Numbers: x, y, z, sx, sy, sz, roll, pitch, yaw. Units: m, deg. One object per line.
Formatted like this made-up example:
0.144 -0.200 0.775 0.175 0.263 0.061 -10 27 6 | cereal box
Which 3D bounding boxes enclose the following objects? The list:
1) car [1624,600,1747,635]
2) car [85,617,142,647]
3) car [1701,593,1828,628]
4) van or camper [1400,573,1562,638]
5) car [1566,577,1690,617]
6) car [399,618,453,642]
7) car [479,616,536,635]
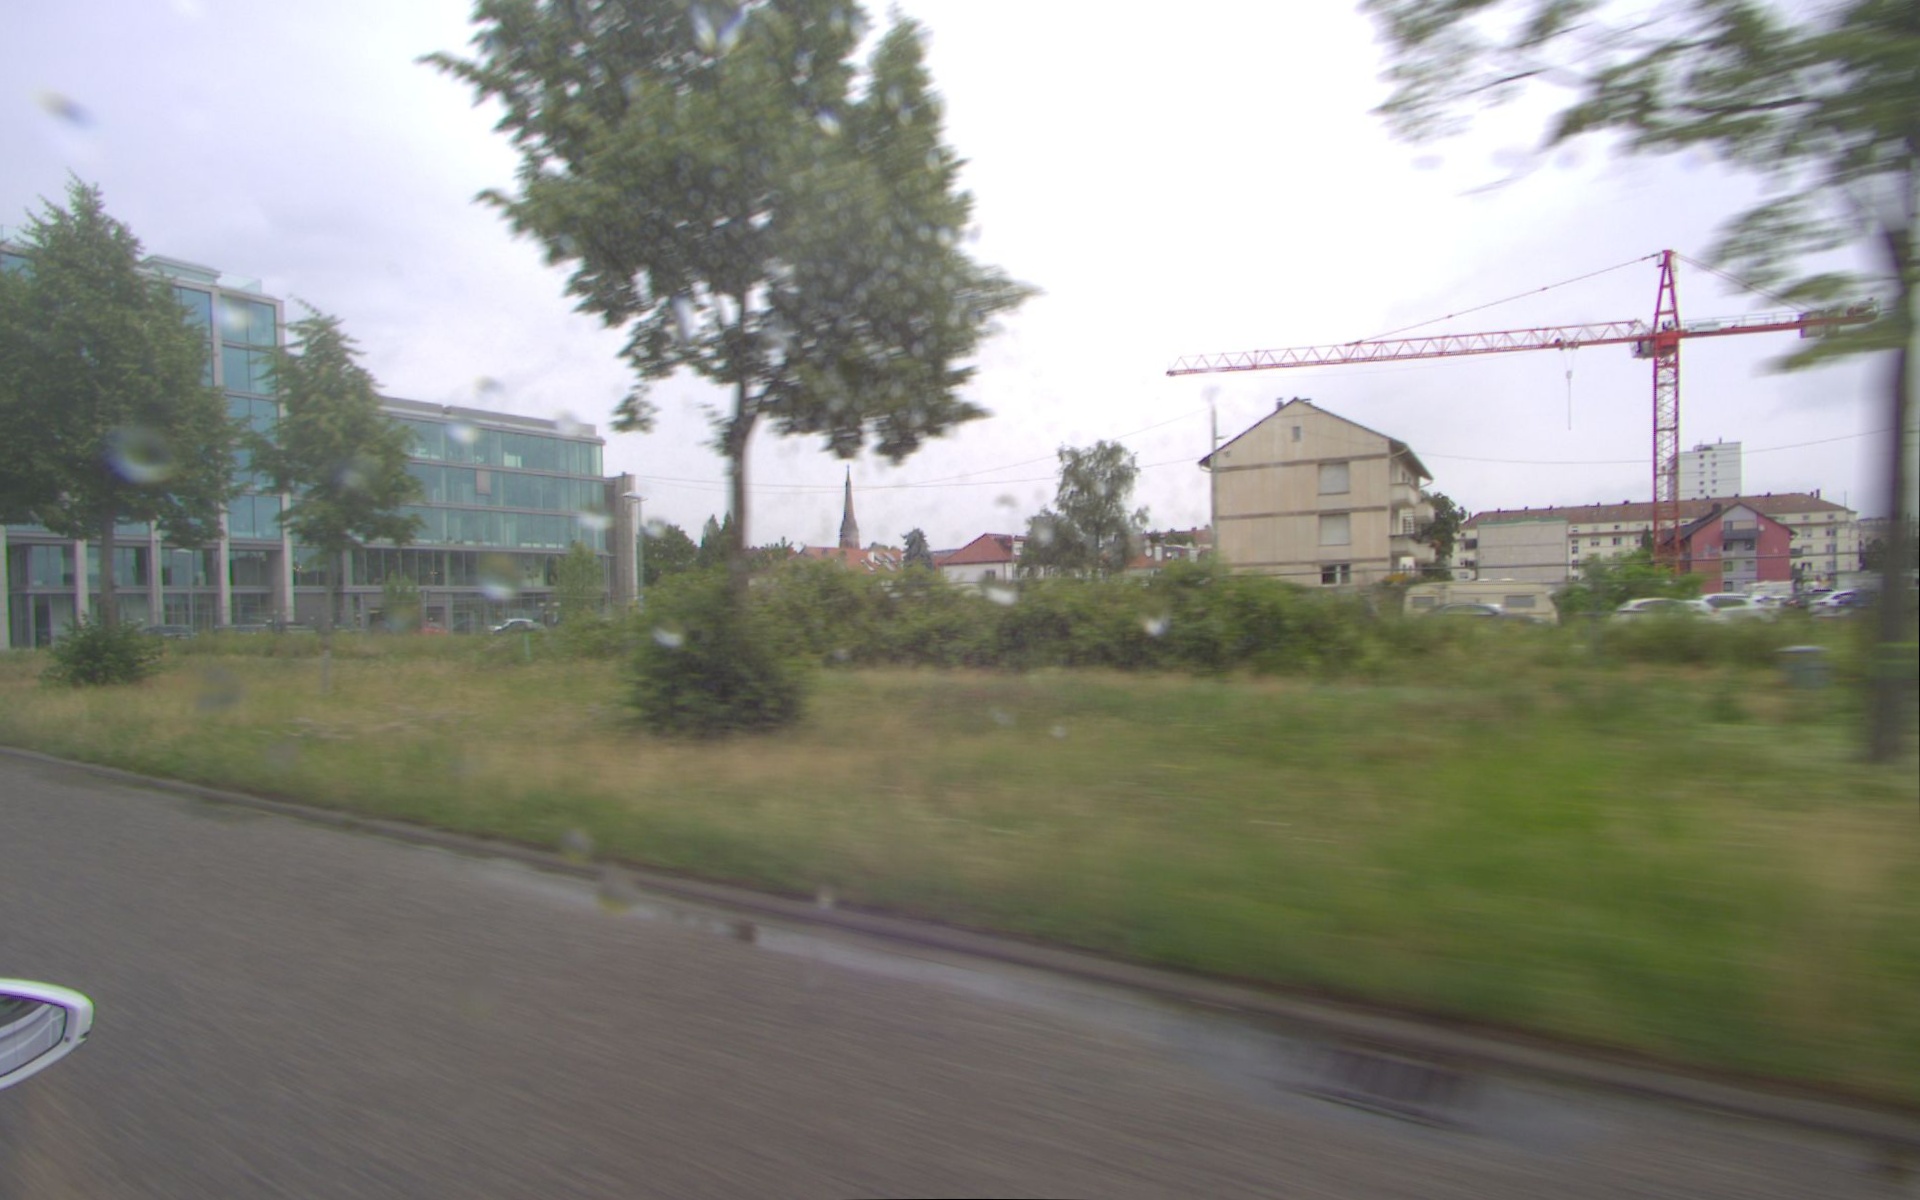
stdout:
29.650 0.725 41.083 3.977 1.370 1.692 -1 0 34 | car
-47.703 1.779 56.393 3.953 1.601 1.846 -1 -1 40 | car
33.446 0.438 41.775 3.977 1.370 1.692 -1 0 34 | car
23.346 0.288 45.026 6.302 2.724 2.304 -1 0 31 | van or camper
34.216 -0.129 51.481 5.128 1.919 2.160 -1 0 29 | car
-36.859 2.062 69.131 3.951 1.622 1.848 -1 0 38 | car
-37.957 2.135 84.022 1.837 1.457 3.972 1 0 38 | car
